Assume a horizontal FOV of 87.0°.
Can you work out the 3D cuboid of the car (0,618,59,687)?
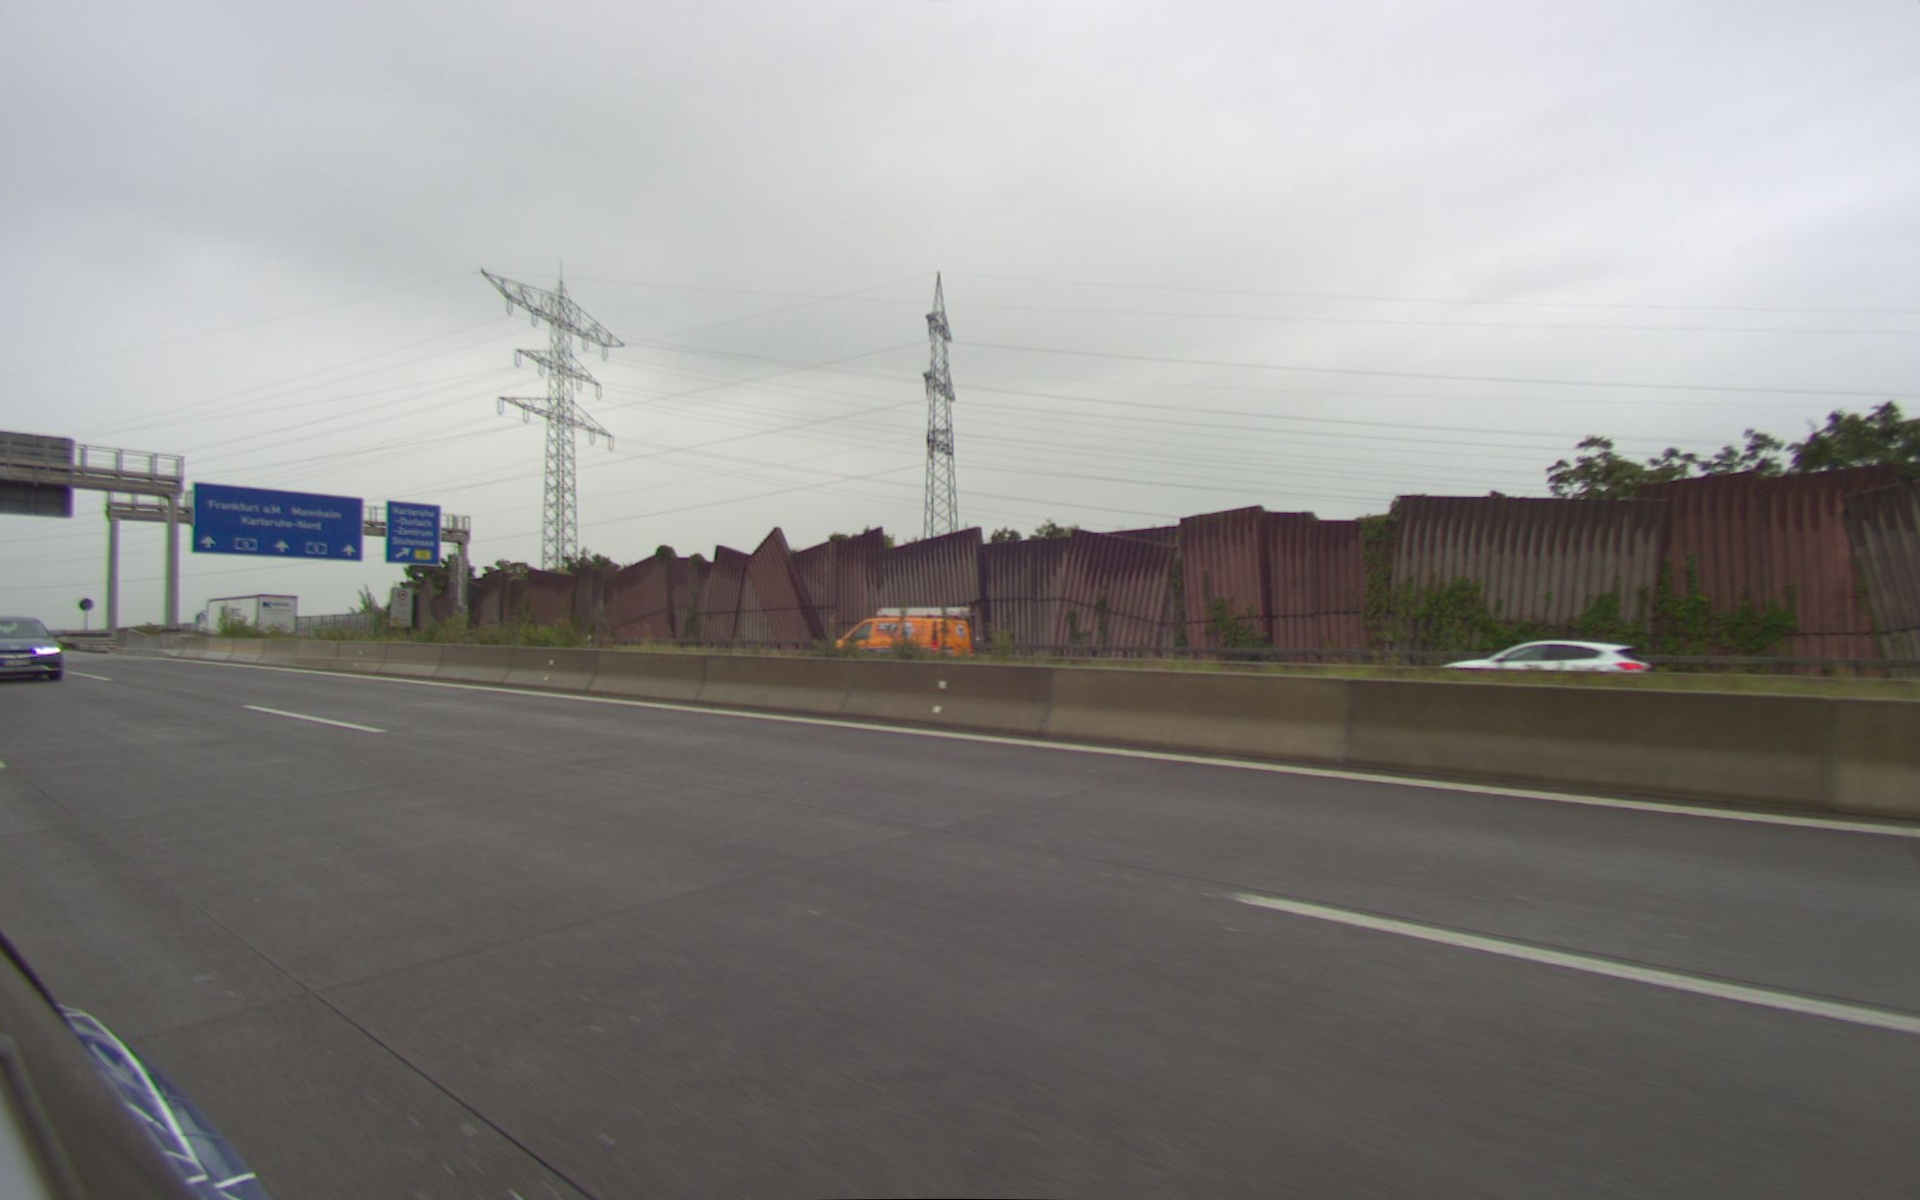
[{"bbox_3d":[-24.461,1.287,25.604,5.152,1.606,1.820,-1,-1,41],"label":"car"}]

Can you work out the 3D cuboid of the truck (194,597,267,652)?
[{"bbox_3d":[-59.474,2.003,82.446,7.883,4.218,3.025,-2,-1,41],"label":"truck"}]

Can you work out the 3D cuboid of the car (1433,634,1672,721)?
[{"bbox_3d":[13.465,1.676,23.147,4.396,1.753,1.972,-1,-1,42],"label":"car"}]

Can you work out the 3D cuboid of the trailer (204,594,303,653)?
[{"bbox_3d":[-55.019,1.858,78.548,13.562,4.218,3.025,-2,-1,41],"label":"trailer"}]

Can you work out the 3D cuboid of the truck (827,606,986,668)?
[{"bbox_3d":[-1.739,1.113,31.377,5.014,1.753,1.972,-1,-1,42],"label":"truck"}]
